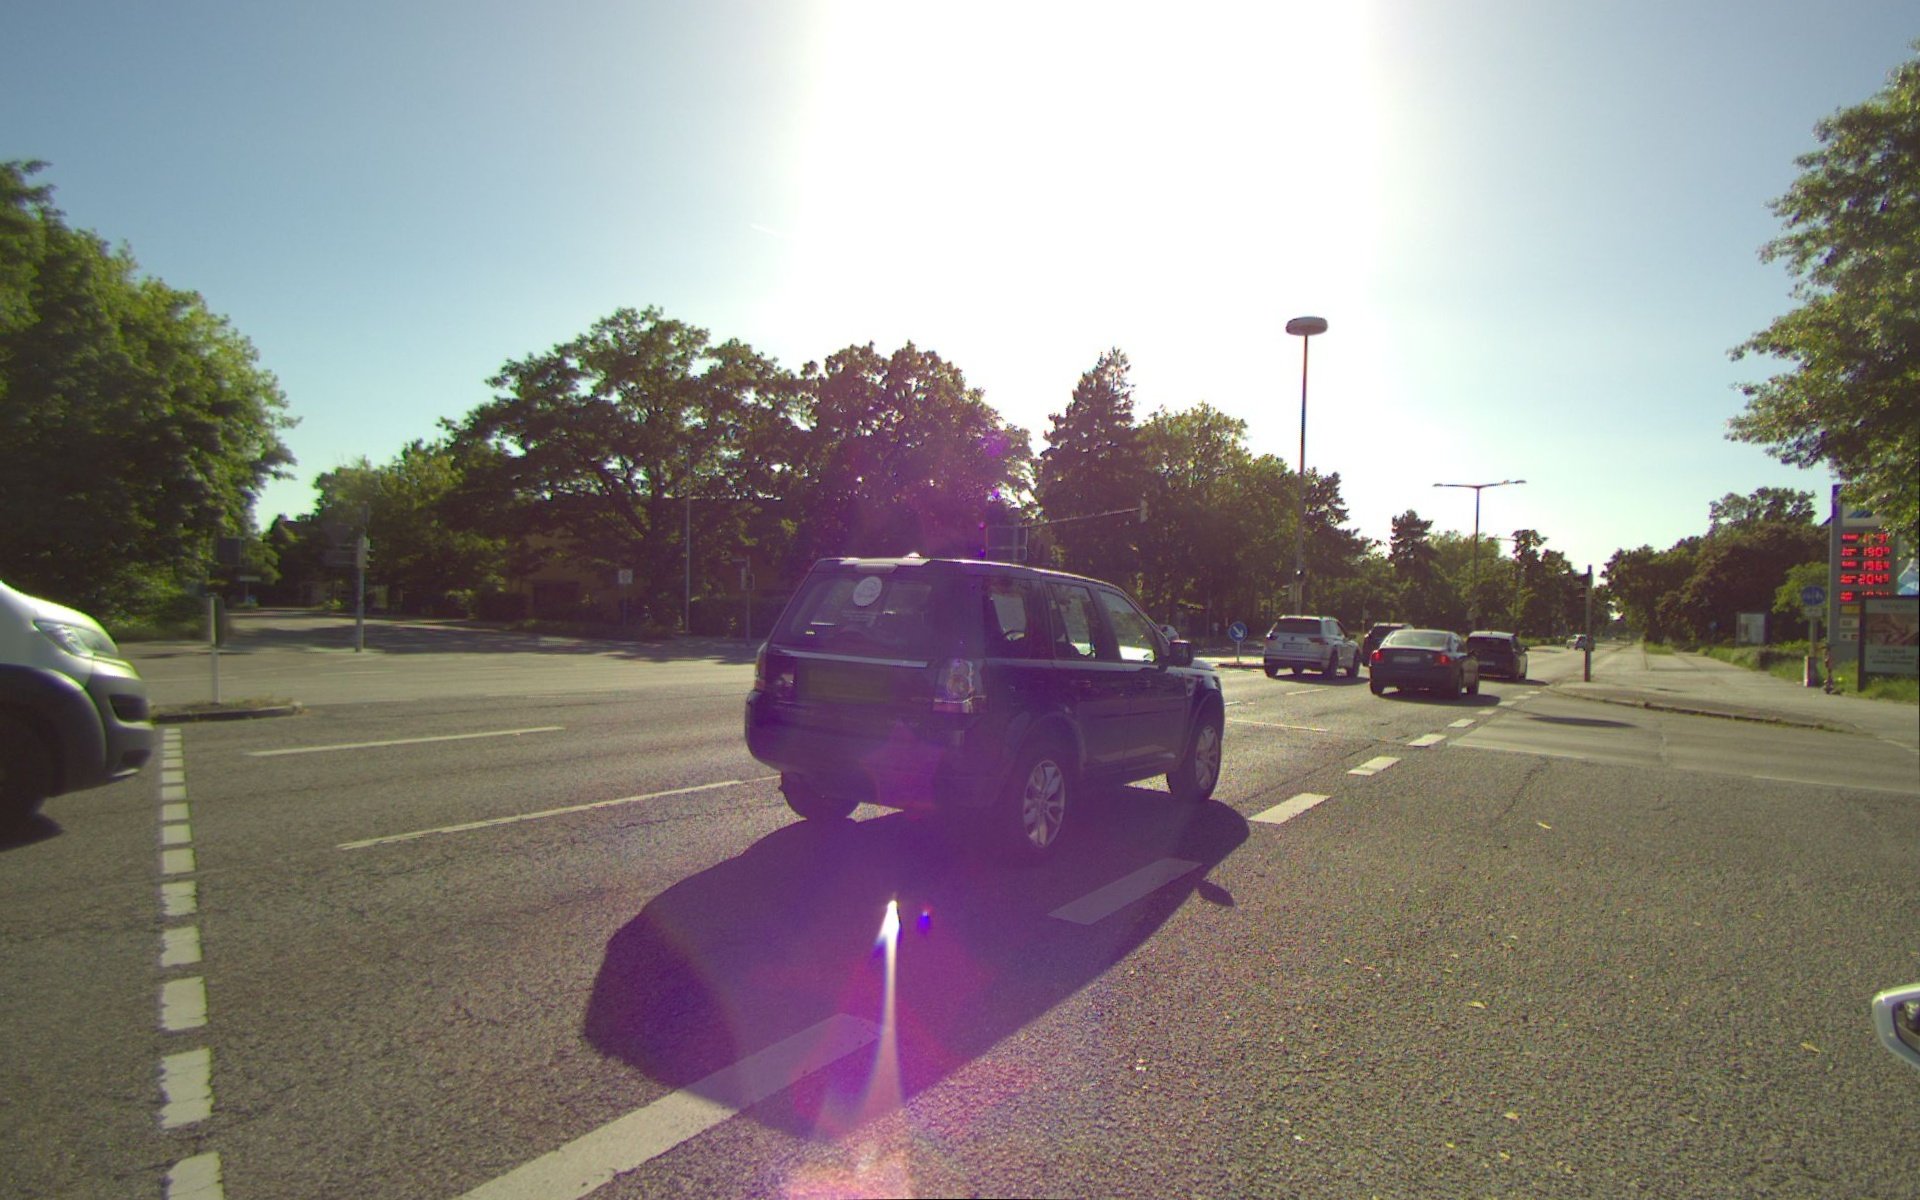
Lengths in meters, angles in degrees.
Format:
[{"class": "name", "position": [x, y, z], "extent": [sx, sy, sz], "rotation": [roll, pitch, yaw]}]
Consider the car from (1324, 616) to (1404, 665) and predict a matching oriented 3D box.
[{"class": "car", "position": [15.614, 1.549, 38.692], "extent": [1.885, 1.674, 4.352], "rotation": [4, 0, 34]}]

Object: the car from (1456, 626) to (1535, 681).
[{"class": "car", "position": [17.812, 1.759, 33.330], "extent": [1.812, 1.609, 4.352], "rotation": [3, -1, 34]}]

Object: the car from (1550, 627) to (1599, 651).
[{"class": "car", "position": [59.946, 3.799, 97.996], "extent": [1.963, 2.040, 3.996], "rotation": [4, 0, -5]}]

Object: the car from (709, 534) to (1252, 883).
[{"class": "car", "position": [0.505, 0.581, 7.243], "extent": [1.797, 1.706, 4.380], "rotation": [2, -1, 34]}]

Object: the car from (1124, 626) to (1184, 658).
[{"class": "car", "position": [9.520, 2.065, 49.213], "extent": [1.527, 1.451, 3.586], "rotation": [2, -1, 35]}]

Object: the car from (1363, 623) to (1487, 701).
[{"class": "car", "position": [10.371, 1.316, 22.219], "extent": [1.811, 1.413, 4.353], "rotation": [4, 0, 33]}]

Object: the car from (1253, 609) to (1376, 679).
[{"class": "car", "position": [9.972, 1.225, 28.069], "extent": [1.918, 1.674, 4.348], "rotation": [4, 0, 38]}]

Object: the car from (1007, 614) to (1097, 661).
[{"class": "car", "position": [3.773, 1.514, 40.516], "extent": [1.778, 1.674, 4.093], "rotation": [4, 0, 34]}]

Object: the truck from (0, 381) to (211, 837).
[{"class": "truck", "position": [-7.195, -0.053, 3.690], "extent": [2.155, 2.340, 6.756], "rotation": [1, -1, 34]}]
